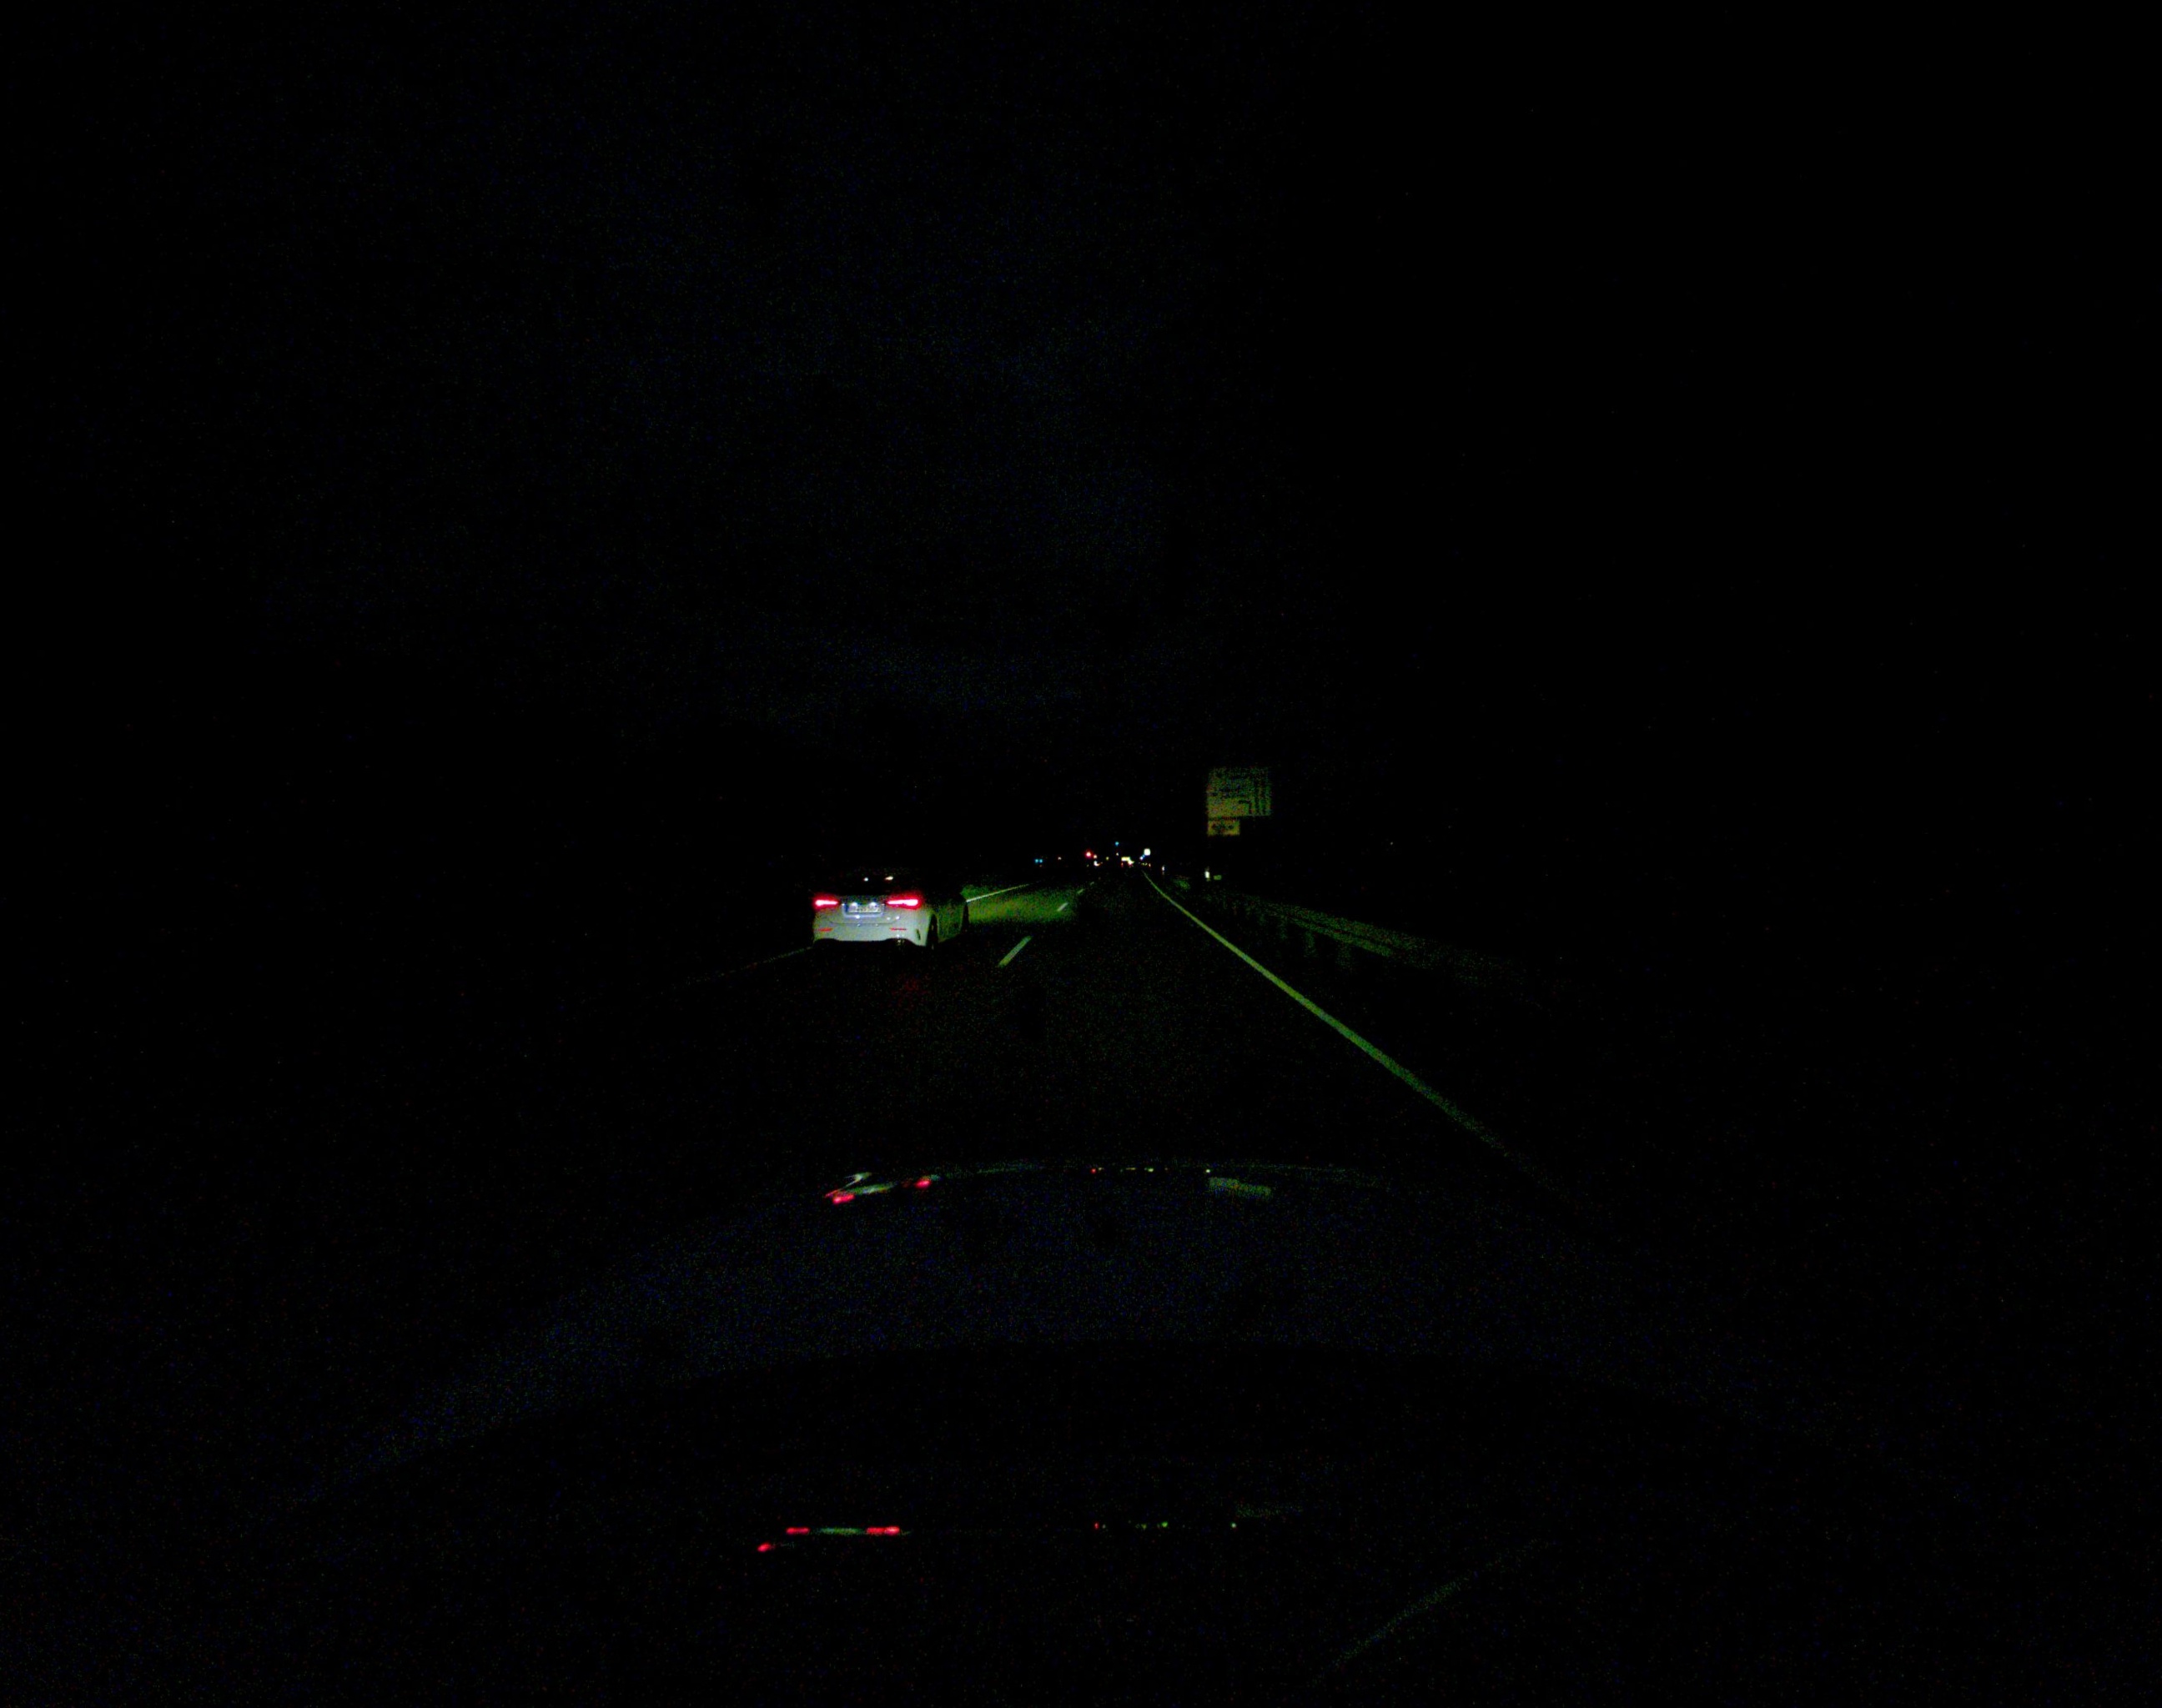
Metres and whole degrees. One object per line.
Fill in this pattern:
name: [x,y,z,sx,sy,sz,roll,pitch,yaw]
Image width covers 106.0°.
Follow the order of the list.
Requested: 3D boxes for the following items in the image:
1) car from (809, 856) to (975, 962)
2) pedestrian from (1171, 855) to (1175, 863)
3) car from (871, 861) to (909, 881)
car: [-2.982,0.793,13.852,1.636,1.490,4.581,0,0,2]
pedestrian: [21.616,1.207,191.188,0.918,1.793,1.107,0,-1,3]
car: [-13.695,1.188,58.561,1.622,1.323,3.943,0,0,3]
